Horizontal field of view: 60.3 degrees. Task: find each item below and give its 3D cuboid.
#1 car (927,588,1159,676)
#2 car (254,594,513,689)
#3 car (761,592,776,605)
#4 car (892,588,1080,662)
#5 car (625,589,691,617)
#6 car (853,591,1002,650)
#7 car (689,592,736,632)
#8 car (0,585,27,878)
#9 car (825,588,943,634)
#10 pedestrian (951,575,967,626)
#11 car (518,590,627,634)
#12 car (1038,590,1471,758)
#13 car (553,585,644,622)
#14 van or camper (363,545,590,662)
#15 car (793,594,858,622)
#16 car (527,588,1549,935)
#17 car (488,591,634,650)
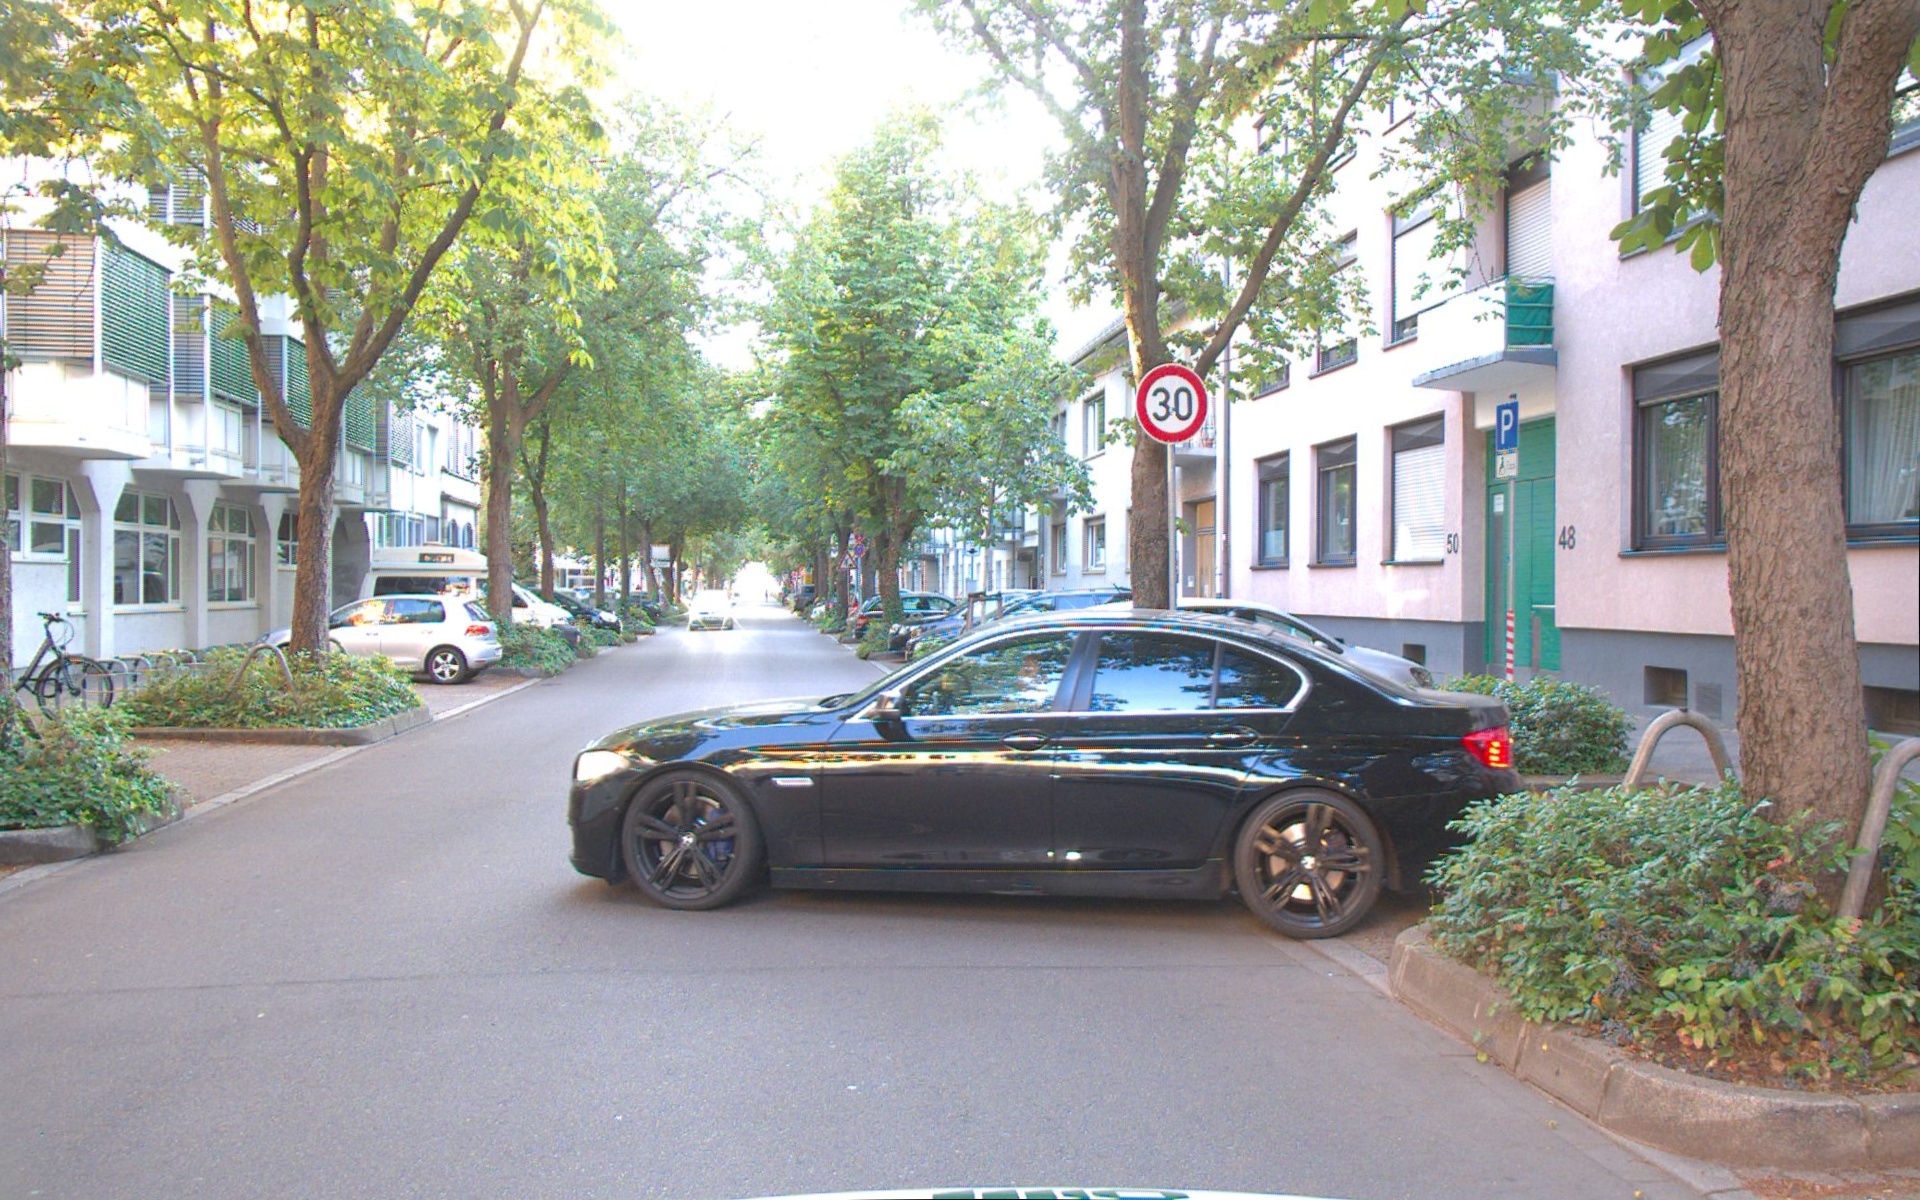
[{"bbox_3d":[1.454,0.539,29.686,3.894,1.502,1.781,0,0,-9],"label":"car"},{"bbox_3d":[-9.872,0.684,28.573,3.892,1.544,1.783,0,0,-6],"label":"car"},{"bbox_3d":[-23.966,-0.238,206.944,1.787,1.557,3.995,-1,0,-6],"label":"car"},{"bbox_3d":[0.533,0.528,36.145,3.893,1.554,1.782,0,0,-8],"label":"car"},{"bbox_3d":[-18.611,0.174,101.994,3.891,1.647,1.783,0,0,-6],"label":"car"},{"bbox_3d":[-0.919,0.538,44.933,3.893,1.554,1.782,0,0,-8],"label":"car"},{"bbox_3d":[-10.144,0.475,68.036,1.745,1.589,4.162,0,0,-6],"label":"car"},{"bbox_3d":[-7.111,0.708,7.862,4.272,1.544,1.782,0,0,-7],"label":"car"},{"bbox_3d":[-2.640,0.367,56.773,3.894,1.554,1.782,0,0,-9],"label":"car"},{"bbox_3d":[-0.050,0.013,66.319,0.577,2.049,0.669,0,0,-6],"label":"pedestrian"},{"bbox_3d":[-15.025,0.446,64.266,3.891,1.647,1.783,0,0,-6],"label":"car"},{"bbox_3d":[2.798,0.667,16.103,3.836,1.502,1.661,0,0,-9],"label":"car"},{"bbox_3d":[-16.535,0.159,75.867,3.891,1.647,1.783,0,0,-6],"label":"car"},{"bbox_3d":[-10.683,0.059,36.875,4.575,2.521,1.997,0,0,-7],"label":"van or camper"},{"bbox_3d":[-8.183,0.473,100.638,3.891,1.713,1.783,0,0,-6],"label":"car"},{"bbox_3d":[0.383,0.696,8.384,4.644,1.506,1.802,0,0,8],"label":"car"},{"bbox_3d":[-11.502,0.568,47.853,3.892,1.647,1.783,0,0,-6],"label":"car"}]
